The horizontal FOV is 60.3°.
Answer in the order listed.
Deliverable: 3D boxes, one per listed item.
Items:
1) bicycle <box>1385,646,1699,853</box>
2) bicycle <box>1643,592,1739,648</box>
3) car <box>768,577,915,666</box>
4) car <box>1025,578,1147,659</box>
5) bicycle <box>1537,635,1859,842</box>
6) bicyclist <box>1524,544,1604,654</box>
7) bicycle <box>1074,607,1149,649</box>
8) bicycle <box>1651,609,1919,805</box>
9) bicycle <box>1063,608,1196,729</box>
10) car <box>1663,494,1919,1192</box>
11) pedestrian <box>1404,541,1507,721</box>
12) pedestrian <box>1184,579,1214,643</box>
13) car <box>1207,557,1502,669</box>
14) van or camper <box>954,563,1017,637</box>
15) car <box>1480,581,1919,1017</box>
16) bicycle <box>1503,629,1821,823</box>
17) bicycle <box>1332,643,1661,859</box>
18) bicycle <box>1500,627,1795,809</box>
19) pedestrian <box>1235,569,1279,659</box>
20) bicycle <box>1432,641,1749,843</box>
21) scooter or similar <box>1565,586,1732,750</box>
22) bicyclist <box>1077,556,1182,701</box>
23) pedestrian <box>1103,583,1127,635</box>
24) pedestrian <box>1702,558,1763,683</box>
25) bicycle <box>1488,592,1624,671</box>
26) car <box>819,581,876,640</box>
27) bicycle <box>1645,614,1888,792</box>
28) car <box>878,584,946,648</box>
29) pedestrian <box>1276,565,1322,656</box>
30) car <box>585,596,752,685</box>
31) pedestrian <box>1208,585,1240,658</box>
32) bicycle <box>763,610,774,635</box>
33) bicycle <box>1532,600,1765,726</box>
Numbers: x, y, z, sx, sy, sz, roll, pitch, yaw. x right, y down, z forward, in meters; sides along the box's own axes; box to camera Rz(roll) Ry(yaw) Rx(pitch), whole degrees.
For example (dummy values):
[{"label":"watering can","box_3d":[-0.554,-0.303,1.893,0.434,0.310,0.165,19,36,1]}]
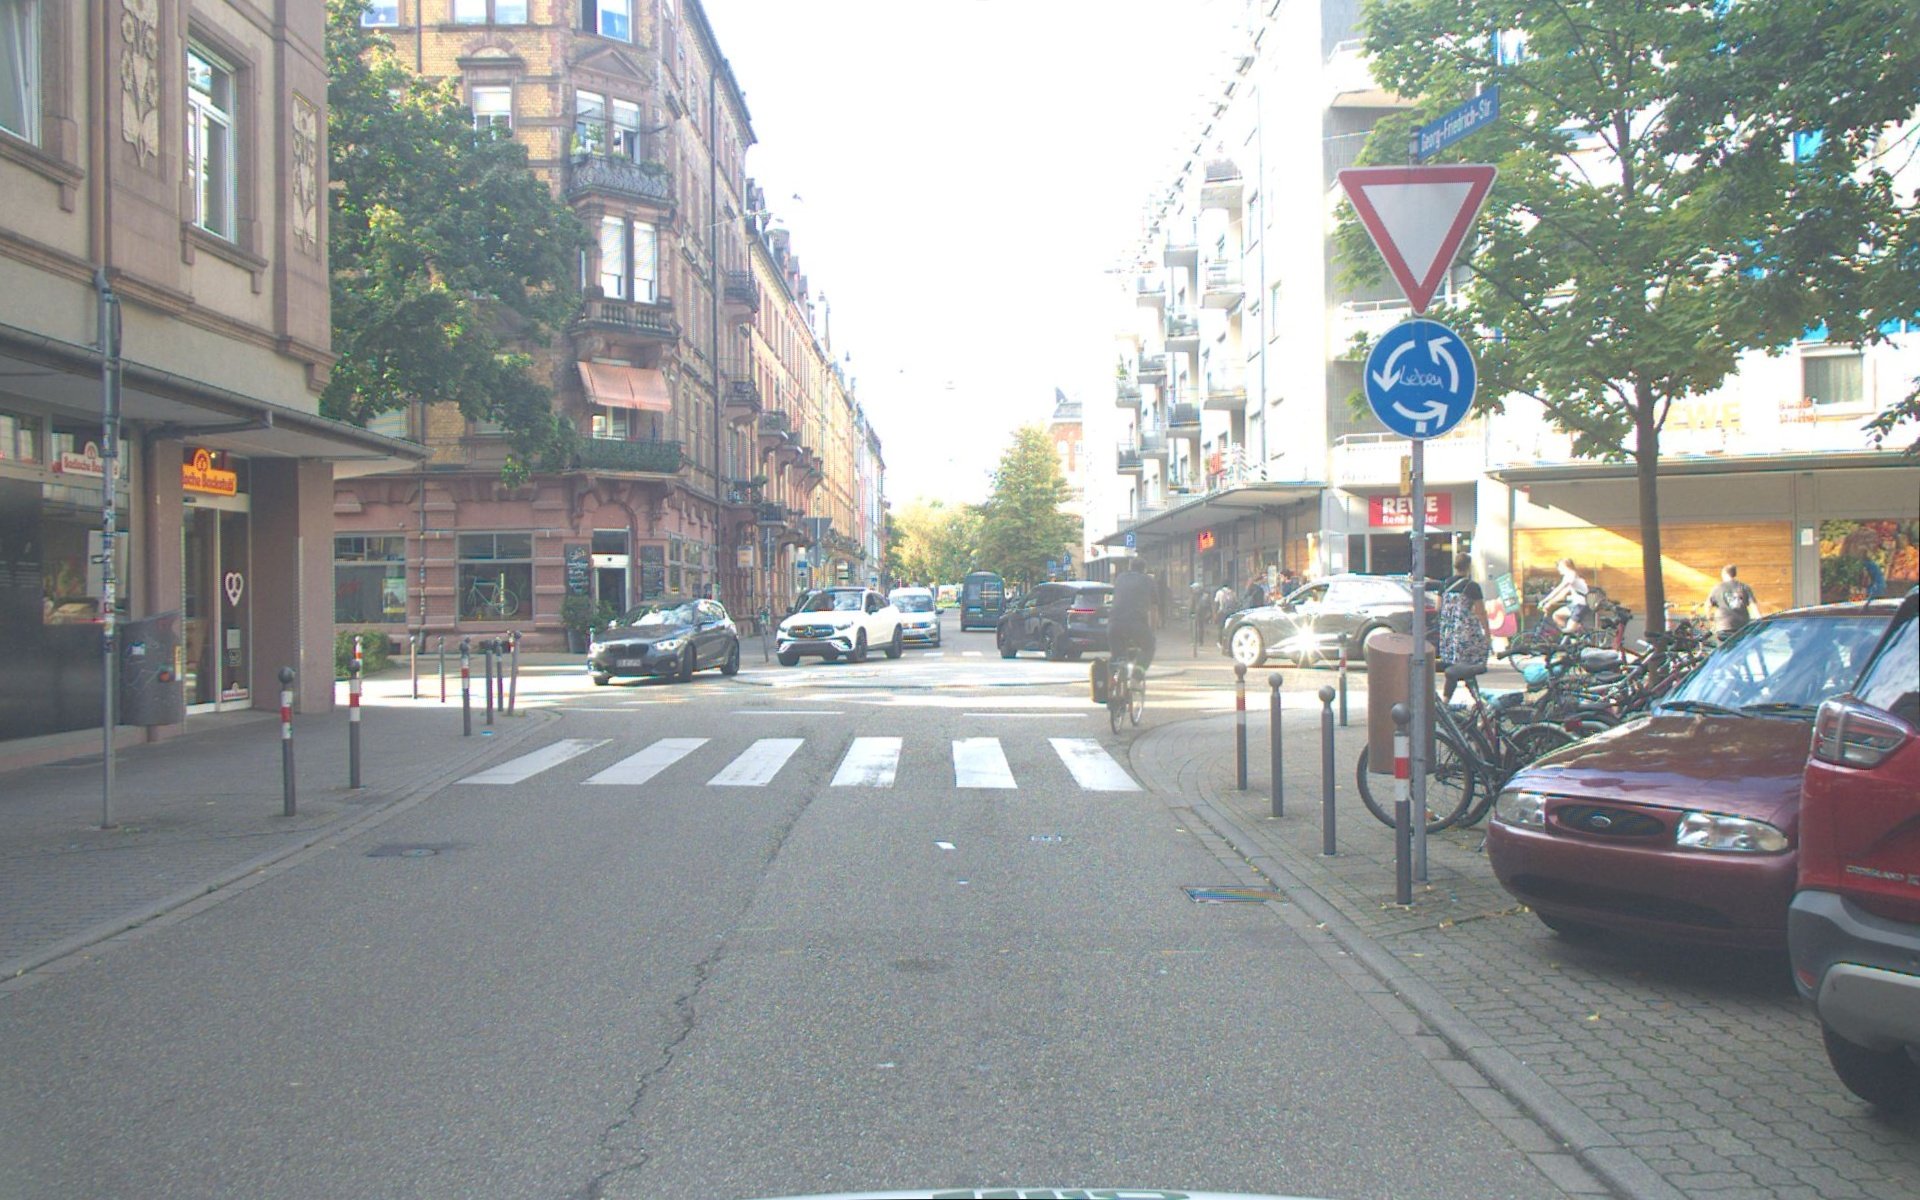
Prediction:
[{"label":"bicycle","box_3d":[3.338,0.818,9.670,0.454,1.058,1.839,-4,0,-29]},{"label":"bicycle","box_3d":[14.303,0.388,32.374,1.653,1.069,0.455,-1,0,40]},{"label":"car","box_3d":[-2.632,0.448,38.076,1.901,1.752,4.854,-2,2,14]},{"label":"car","box_3d":[2.699,0.378,36.259,1.955,1.646,3.995,-1,0,-6]},{"label":"bicycle","box_3d":[4.188,0.748,9.543,0.343,1.058,1.840,-4,0,-27]},{"label":"bicyclist","box_3d":[9.626,-0.012,26.333,0.995,1.697,0.941,-1,0,33]},{"label":"bicycle","box_3d":[4.064,0.752,44.529,1.959,1.063,0.532,-1,0,2]},{"label":"bicycle","box_3d":[5.171,0.628,10.211,0.349,1.092,1.780,-4,0,-29]},{"label":"bicycle","box_3d":[1.870,0.694,17.874,0.652,1.198,2.495,0,0,25]},{"label":"car","box_3d":[4.274,0.465,4.719,4.289,1.673,1.806,-4,1,-27]},{"label":"pedestrian","box_3d":[5.160,0.314,17.209,0.769,1.811,0.789,-1,0,38]},{"label":"pedestrian","box_3d":[6.284,0.294,43.480,0.729,1.657,0.813,-1,0,11]},{"label":"car","box_3d":[6.865,0.204,29.205,2.024,1.754,4.775,-4,2,-40]},{"label":"van or camper","box_3d":[1.068,-0.025,72.309,2.480,3.090,4.456,-1,0,-2]},{"label":"car","box_3d":[4.375,0.656,7.352,3.887,1.482,1.753,-1,0,-29]},{"label":"bicycle","box_3d":[4.260,0.731,10.204,0.439,1.058,1.887,-4,0,-29]},{"label":"bicycle","box_3d":[2.962,0.796,9.342,0.542,1.058,1.839,-4,0,-29]},{"label":"bicycle","box_3d":[4.423,0.728,10.797,0.384,1.058,1.902,-4,0,-29]},{"label":"pedestrian","box_3d":[6.297,0.287,35.078,0.850,1.883,0.613,-1,0,5]},{"label":"bicycle","box_3d":[3.680,0.787,9.852,0.343,1.058,2.000,-4,0,-27]},{"label":"scooter or similar","box_3d":[5.649,0.541,13.580,1.220,1.296,0.664,-1,0,24]},{"label":"bicyclist","box_3d":[1.825,0.290,17.747,0.915,1.510,0.746,0,0,25]},{"label":"pedestrian","box_3d":[5.743,0.320,61.292,0.715,1.897,1.063,-1,0,15]},{"label":"pedestrian","box_3d":[11.119,0.289,23.822,0.615,1.769,0.776,-1,0,12]},{"label":"bicycle","box_3d":[9.502,0.502,26.401,1.933,1.220,0.710,-1,0,32]},{"label":"car","box_3d":[-4.167,0.374,61.739,1.953,2.049,3.998,-1,0,-2]},{"label":"bicycle","box_3d":[5.207,0.648,10.763,0.331,1.058,1.442,-4,0,-29]},{"label":"car","box_3d":[-1.443,0.453,51.113,1.756,1.822,4.737,-2,0,2]},{"label":"pedestrian","box_3d":[7.169,0.223,35.000,0.850,1.883,0.613,-1,0,5]},{"label":"car","box_3d":[-5.059,0.686,29.266,1.712,1.461,4.215,0,-1,7]},{"label":"pedestrian","box_3d":[6.423,0.525,40.198,0.725,1.742,0.734,-1,0,11]},{"label":"bicycle","box_3d":[-7.484,0.881,64.630,0.353,0.963,1.714,0,0,-5]},{"label":"bicycle","box_3d":[6.400,0.578,15.434,1.884,1.113,0.653,-1,0,4]}]
